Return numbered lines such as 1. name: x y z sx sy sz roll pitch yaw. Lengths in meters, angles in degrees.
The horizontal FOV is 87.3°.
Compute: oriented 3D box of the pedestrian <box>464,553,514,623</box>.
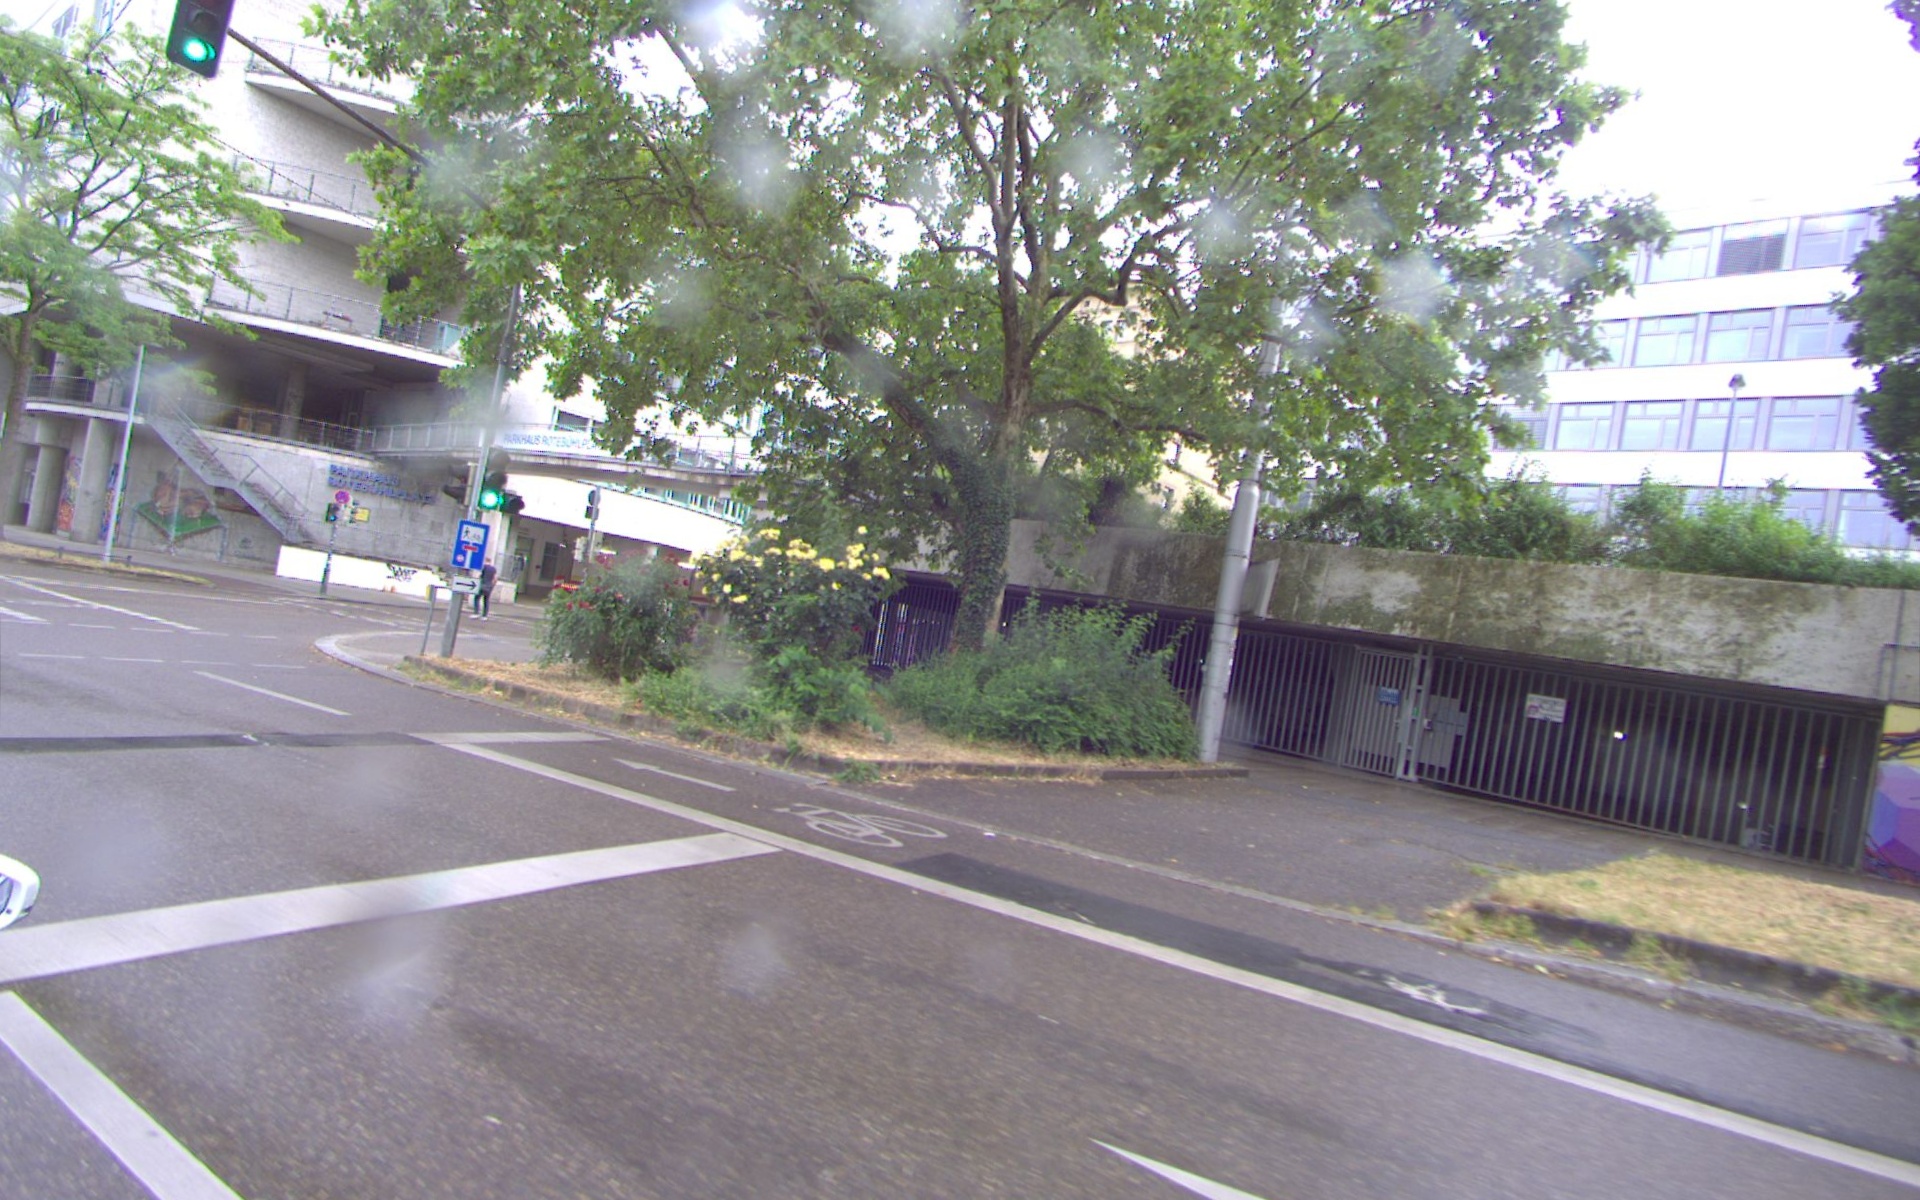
1. pedestrian: -14.021 -0.344 29.974 0.745 1.932 0.847 7 -1 31
